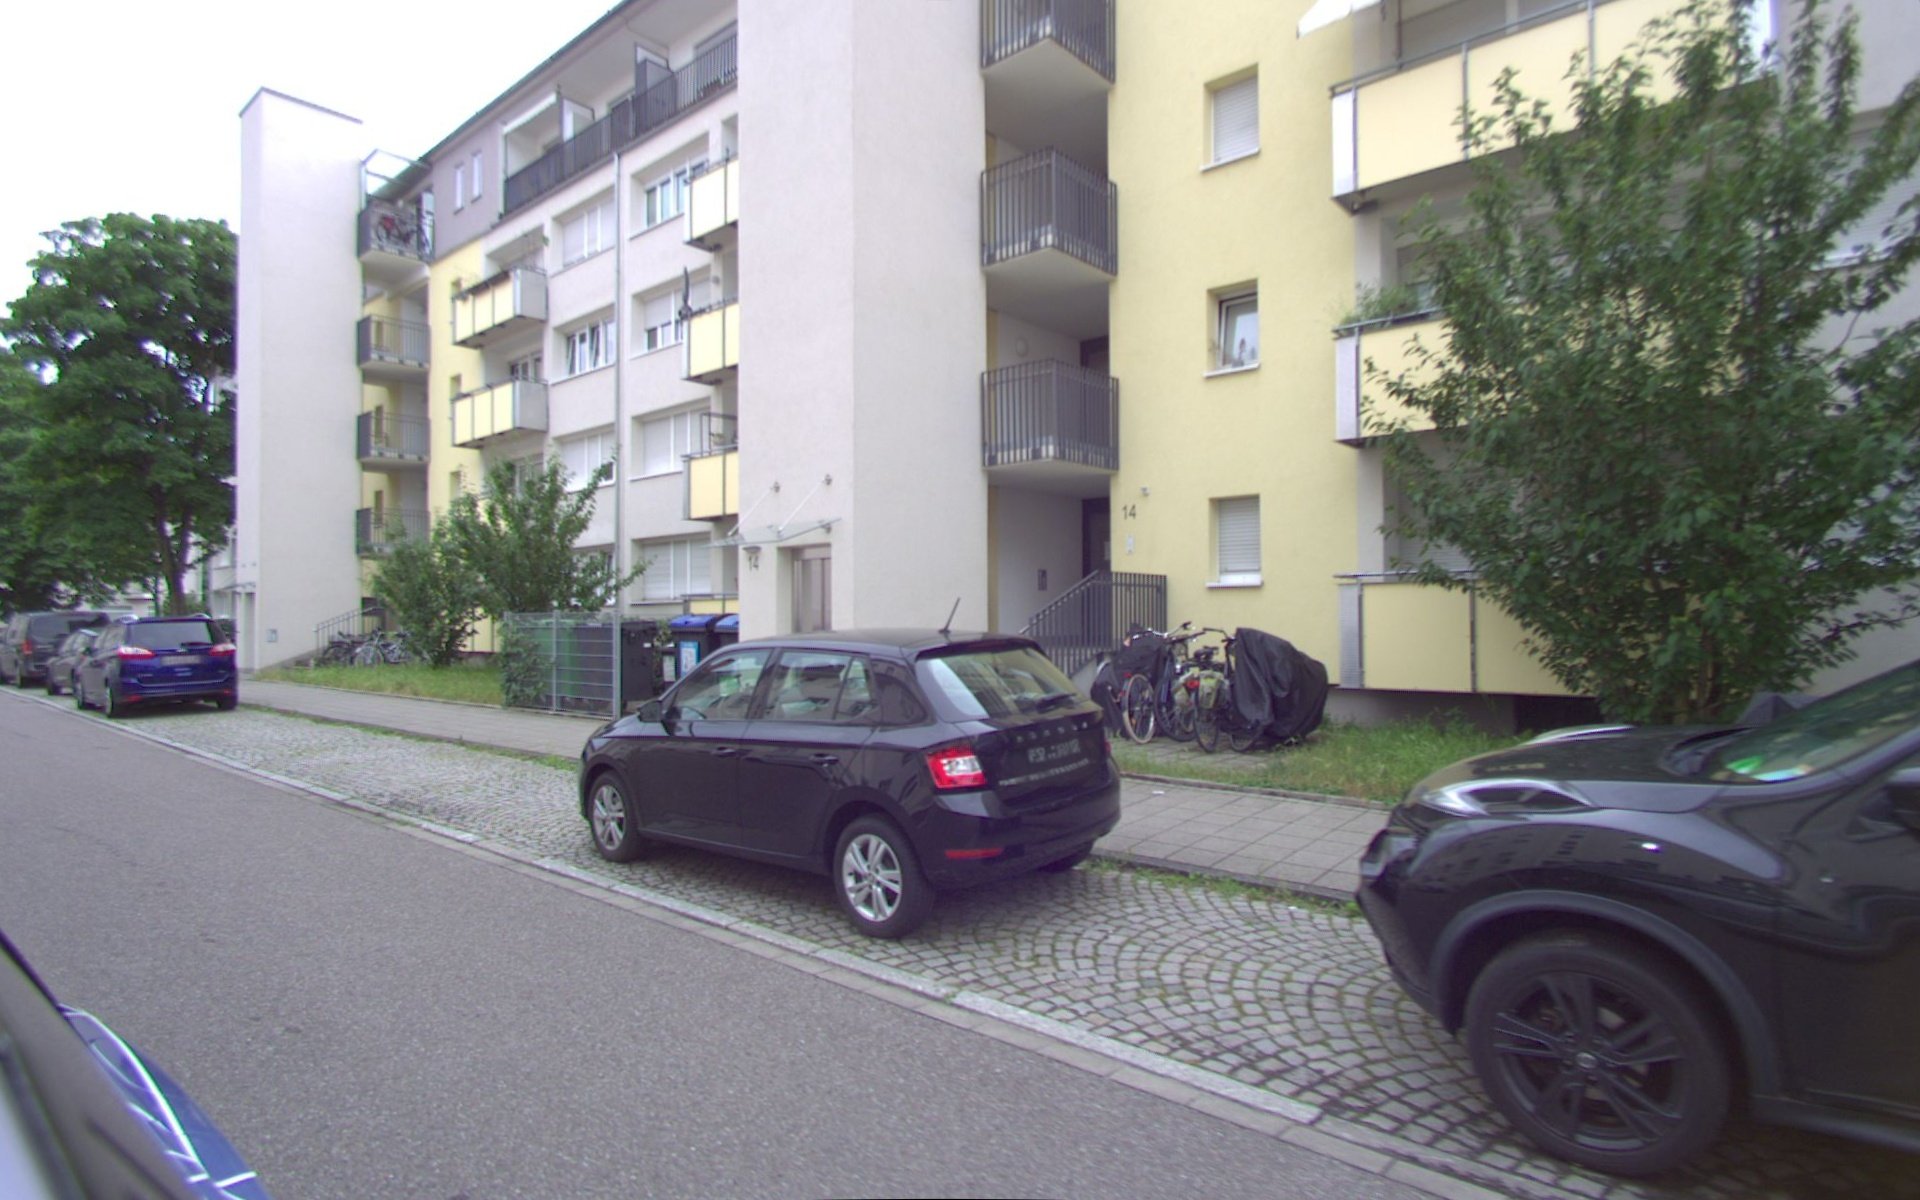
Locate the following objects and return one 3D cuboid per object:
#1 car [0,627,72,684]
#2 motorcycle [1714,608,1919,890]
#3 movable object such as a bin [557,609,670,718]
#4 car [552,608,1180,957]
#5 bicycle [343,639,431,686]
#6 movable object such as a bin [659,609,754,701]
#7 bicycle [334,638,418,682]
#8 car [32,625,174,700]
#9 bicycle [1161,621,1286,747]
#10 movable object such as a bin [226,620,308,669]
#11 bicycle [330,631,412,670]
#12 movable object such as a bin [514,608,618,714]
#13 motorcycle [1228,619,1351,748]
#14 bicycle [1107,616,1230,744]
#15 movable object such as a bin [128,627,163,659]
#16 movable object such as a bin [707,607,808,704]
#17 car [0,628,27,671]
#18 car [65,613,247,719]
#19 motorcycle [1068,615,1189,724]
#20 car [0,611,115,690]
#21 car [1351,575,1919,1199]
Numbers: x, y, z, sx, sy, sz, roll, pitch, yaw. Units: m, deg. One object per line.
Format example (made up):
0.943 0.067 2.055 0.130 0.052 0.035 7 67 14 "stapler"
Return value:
-27.607 1.595 29.814 3.610 1.580 1.604 -2 -2 40 "car"
5.156 0.697 4.823 2.419 1.317 0.860 -2 -1 41 "motorcycle"
-4.956 0.875 14.457 1.314 1.458 0.991 -2 -1 41 "movable object such as a bin"
-0.781 0.831 6.233 3.854 1.449 1.626 -2 0 41 "car"
-14.664 1.570 25.932 0.715 1.146 1.834 -2 -2 38 "bicycle"
-4.292 0.901 17.126 1.314 1.458 0.991 -2 -1 41 "movable object such as a bin"
-15.678 1.590 27.189 1.829 1.146 0.717 1 -3 -42 "bicycle"
-18.791 1.319 22.134 3.813 1.456 1.606 -2 -1 38 "car"
2.682 0.798 10.187 0.608 1.151 1.707 -2 -2 36 "bicycle"
-22.814 1.435 33.326 2.539 1.535 1.596 -2 -2 40 "movable object such as a bin"
-16.129 1.379 27.750 1.829 1.028 0.671 1 -2 -42 "bicycle"
-6.011 0.895 15.430 1.314 1.512 0.991 -2 -1 41 "movable object such as a bin"
3.232 0.771 9.841 0.593 1.138 1.732 -2 -3 37 "motorcycle"
2.224 0.797 10.664 0.608 1.234 1.707 -2 -2 36 "bicycle"
-38.371 2.019 47.687 0.889 1.487 1.168 -2 -3 44 "movable object such as a bin"
-3.237 0.862 16.168 1.314 1.458 0.991 -2 -1 41 "movable object such as a bin"
-35.089 1.799 36.225 4.430 1.450 1.895 -2 0 40 "car"
-14.510 1.108 18.168 4.469 1.639 1.781 -2 -1 41 "car"
1.928 0.756 11.445 0.689 1.138 1.600 -2 -3 37 "motorcycle"
-23.680 1.262 26.279 4.782 1.869 1.867 -2 -2 40 "car"
3.253 0.690 2.535 3.895 1.542 1.635 -2 0 43 "car"
